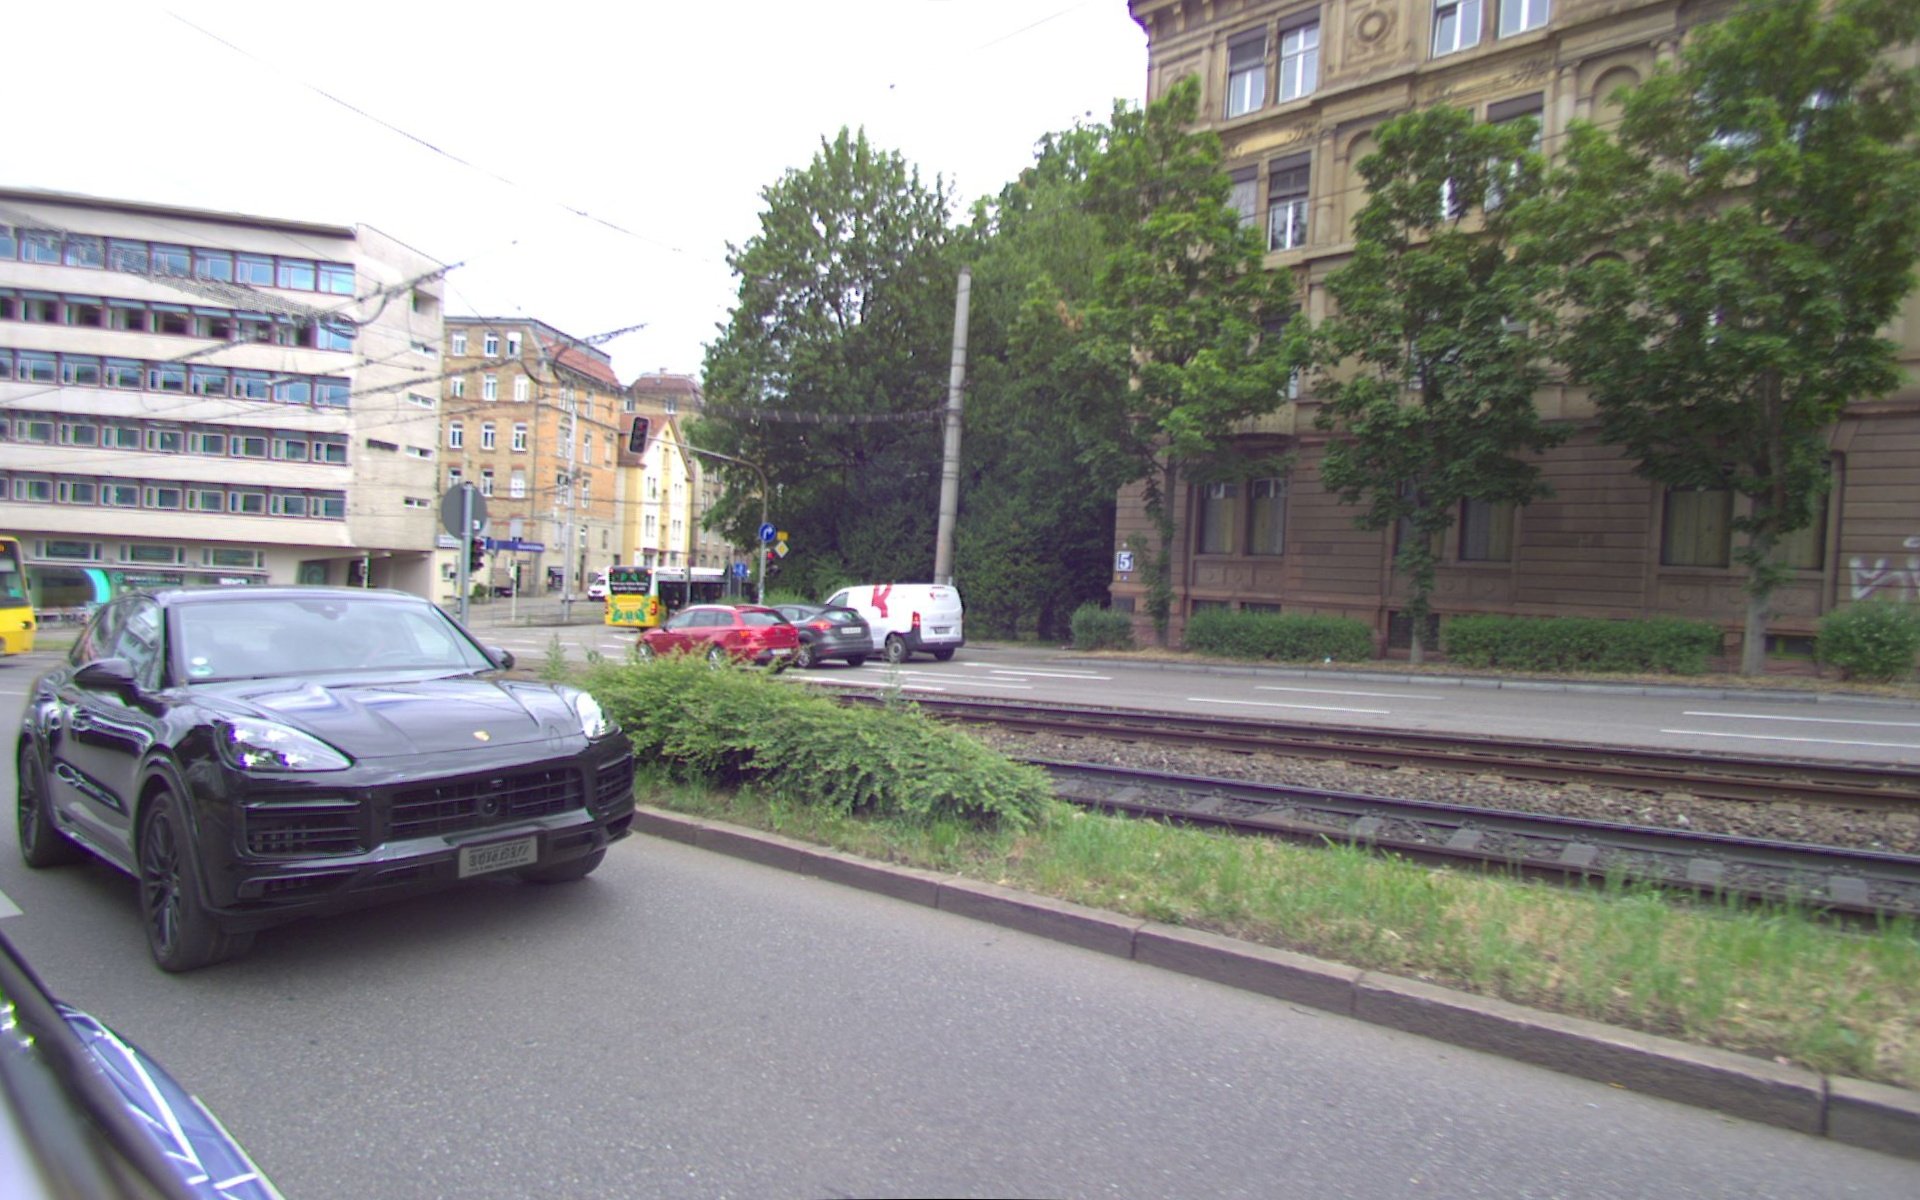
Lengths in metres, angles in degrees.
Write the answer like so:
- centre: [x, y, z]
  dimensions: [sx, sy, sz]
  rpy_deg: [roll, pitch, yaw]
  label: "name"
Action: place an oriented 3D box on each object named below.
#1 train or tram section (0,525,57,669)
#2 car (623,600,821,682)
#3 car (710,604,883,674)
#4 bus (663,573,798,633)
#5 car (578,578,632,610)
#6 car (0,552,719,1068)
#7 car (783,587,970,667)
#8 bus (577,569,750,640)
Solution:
- centre: [-31.536, -0.049, 27.459]
  dimensions: [14.334, 3.691, 2.879]
  rpy_deg: [0, 1, 14]
  label: "train or tram section"
- centre: [-5.234, 0.799, 21.958]
  dimensions: [4.403, 1.530, 1.973]
  rpy_deg: [1, 1, 40]
  label: "car"
- centre: [-3.947, 0.856, 23.960]
  dimensions: [4.406, 1.437, 1.723]
  rpy_deg: [1, 1, 43]
  label: "car"
- centre: [-12.681, 0.114, 57.387]
  dimensions: [3.288, 3.066, 11.326]
  rpy_deg: [-1, 0, 10]
  label: "bus"
- centre: [-26.760, -0.425, 76.386]
  dimensions: [1.979, 2.029, 3.985]
  rpy_deg: [-6, -4, 11]
  label: "car"
- centre: [-3.638, 0.664, 5.641]
  dimensions: [4.777, 1.697, 2.007]
  rpy_deg: [1, 0, 40]
  label: "car"
- centre: [-2.243, 0.654, 26.065]
  dimensions: [4.993, 1.863, 1.972]
  rpy_deg: [0, -1, 43]
  label: "car"
- centre: [-14.089, 0.165, 49.677]
  dimensions: [3.353, 3.052, 11.511]
  rpy_deg: [-1, 0, 10]
  label: "bus"
